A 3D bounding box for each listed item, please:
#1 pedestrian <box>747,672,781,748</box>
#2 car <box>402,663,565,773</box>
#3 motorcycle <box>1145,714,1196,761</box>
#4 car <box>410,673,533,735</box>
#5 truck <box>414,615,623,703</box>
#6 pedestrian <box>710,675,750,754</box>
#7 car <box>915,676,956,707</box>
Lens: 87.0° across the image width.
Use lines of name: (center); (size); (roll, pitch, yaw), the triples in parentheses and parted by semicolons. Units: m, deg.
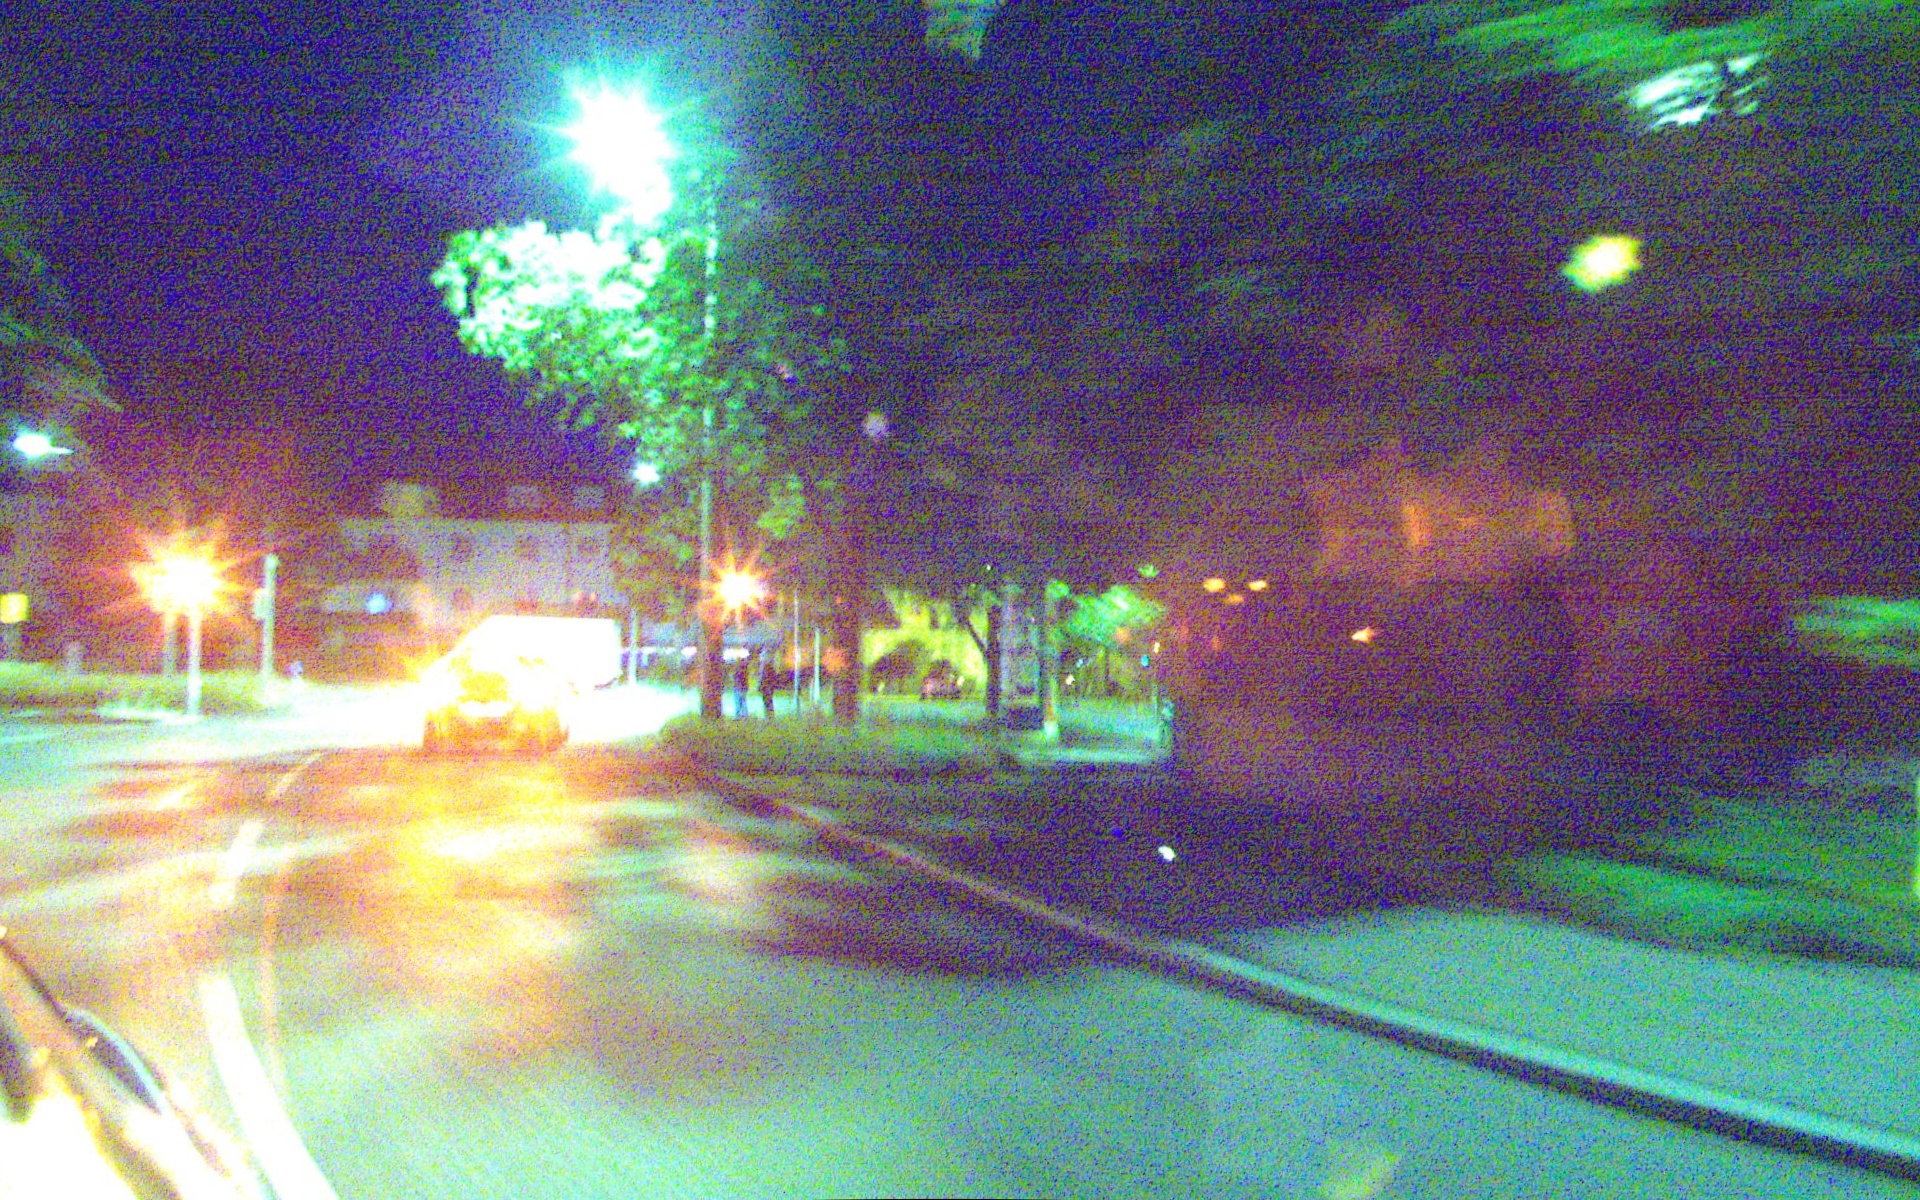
pedestrian: (-4.750, 2.662, 24.584); (0.517, 1.806, 0.690); (1, -6, 9)
car: (-7.147, 1.762, 15.587); (1.701, 1.441, 4.302); (2, -6, -18)
motorcycle: (5.963, 3.869, 28.581); (0.617, 1.239, 2.016); (-2, -6, 35)
car: (-13.024, 2.783, 27.169); (1.496, 1.513, 3.043); (1, -6, 6)
truck: (-17.069, 2.285, 39.601); (6.922, 3.067, 2.778); (3, -2, -10)
pedestrian: (-5.374, 2.661, 23.693); (0.717, 1.783, 0.966); (2, -6, -5)
car: (-1.288, 4.829, 53.551); (2.024, 1.567, 4.255); (1, -5, -1)
